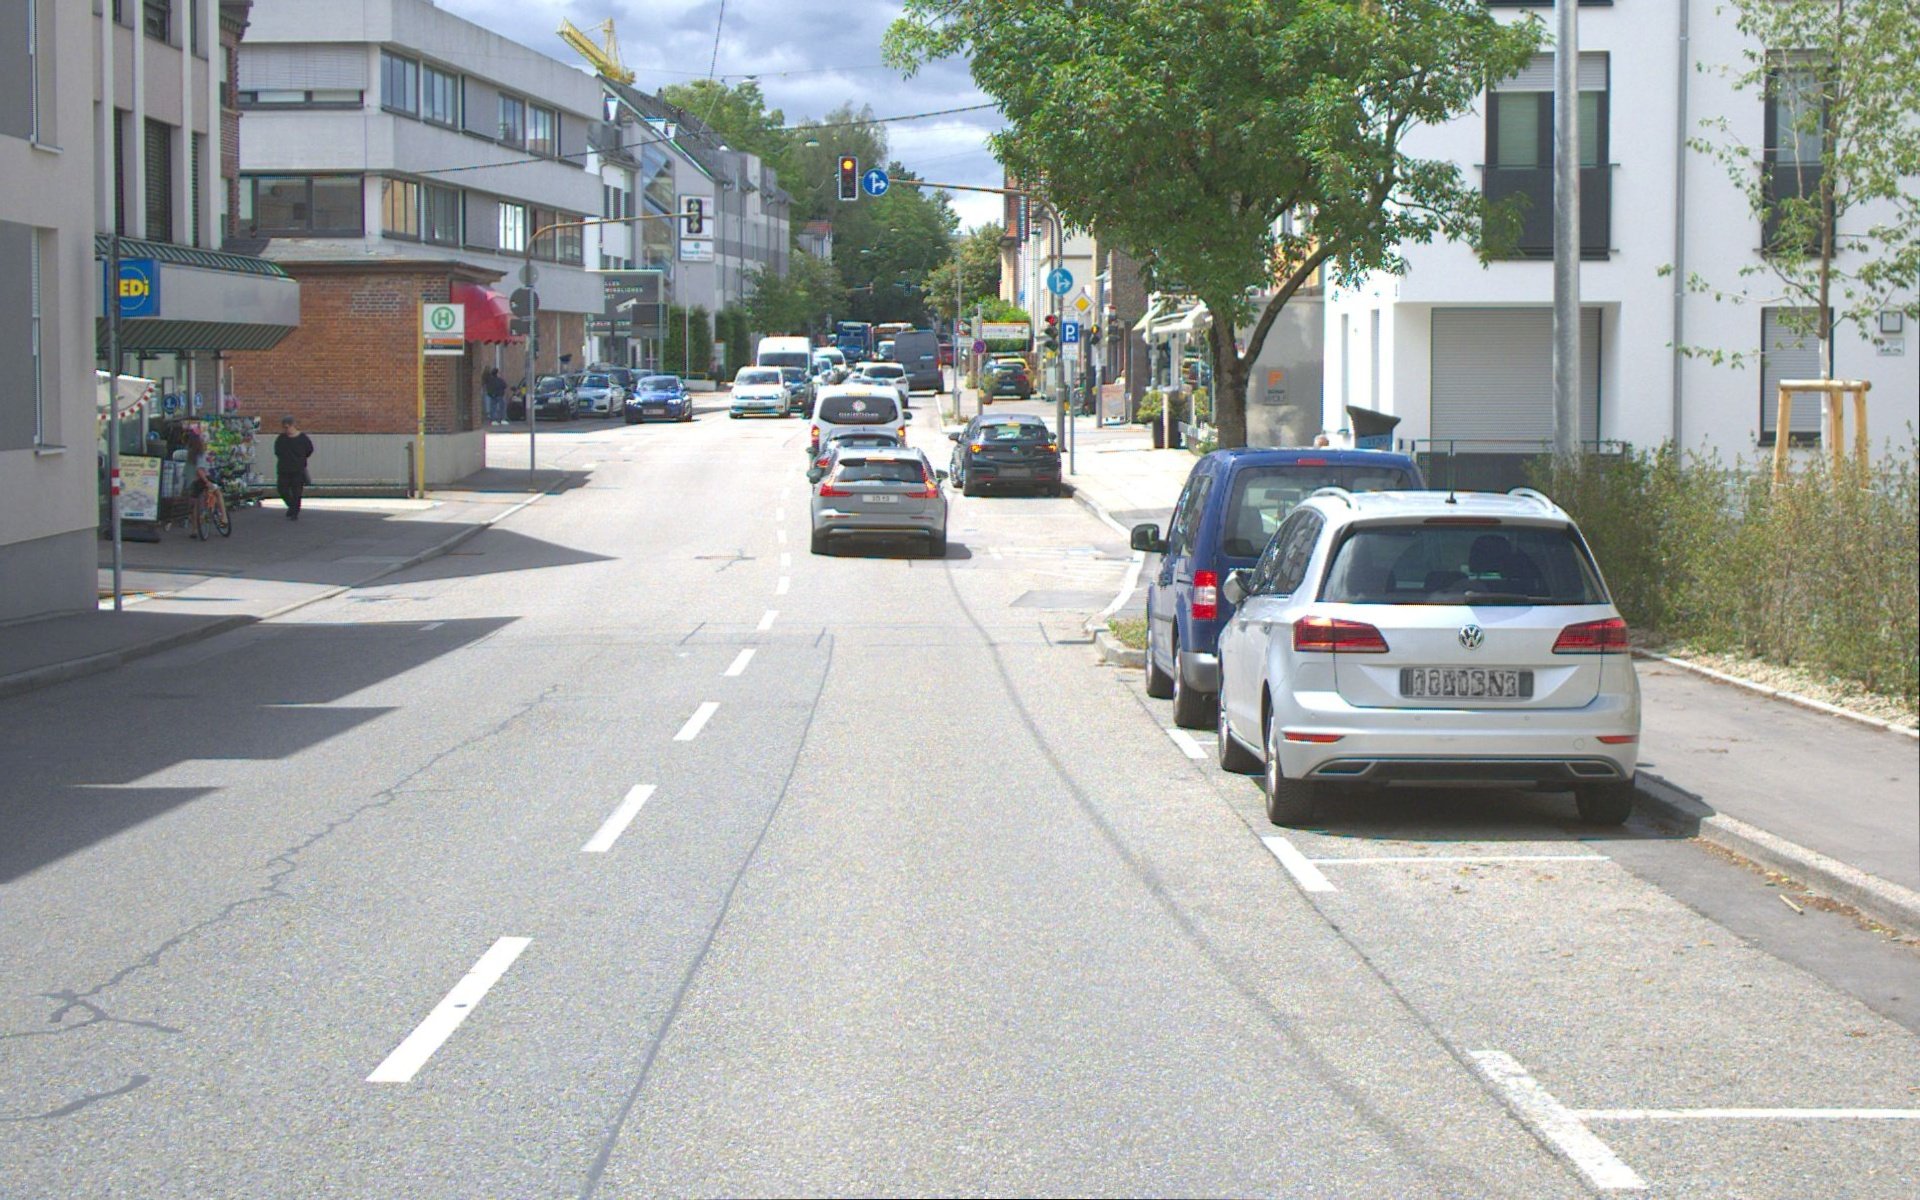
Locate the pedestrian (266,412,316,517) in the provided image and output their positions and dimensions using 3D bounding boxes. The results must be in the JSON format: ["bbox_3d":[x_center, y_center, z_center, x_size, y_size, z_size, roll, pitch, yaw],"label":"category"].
[{"bbox_3d":[-10.278,-2.080,52.817,0.628,1.597,0.563,1,2,3],"label":"pedestrian"}]

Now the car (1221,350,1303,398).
[{"bbox_3d":[11.189,-8.347,127.084,1.573,1.609,3.655,3,2,30],"label":"car"}]

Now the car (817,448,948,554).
[{"bbox_3d":[-1.063,-1.415,48.008,1.744,1.412,4.001,0,2,-1],"label":"car"}]

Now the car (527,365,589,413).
[{"bbox_3d":[-12.409,-6.501,106.147,1.551,1.371,3.399,0,2,-1],"label":"car"}]

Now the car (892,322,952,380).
[{"bbox_3d":[-1.641,-10.662,147.457,2.436,2.310,5.327,2,3,-1],"label":"car"}]

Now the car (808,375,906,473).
[{"bbox_3d":[-2.005,-3.444,67.625,1.836,1.855,3.851,1,2,-1],"label":"car"}]

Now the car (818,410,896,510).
[{"bbox_3d":[-1.726,-2.383,58.086,1.273,1.522,3.051,0,5,-1],"label":"car"}]

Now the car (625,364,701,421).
[{"bbox_3d":[-9.224,-6.436,107.018,1.873,1.634,4.000,2,2,1],"label":"car"}]

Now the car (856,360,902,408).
[{"bbox_3d":[-2.965,-7.896,126.010,1.635,1.650,3.851,1,2,-1],"label":"car"}]

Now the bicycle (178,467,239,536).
[{"bbox_3d":[-10.322,-1.356,47.270,0.467,0.858,1.777,2,4,-1],"label":"bicycle"}]

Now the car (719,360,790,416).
[{"bbox_3d":[-6.580,-6.786,110.341,1.873,1.634,4.000,2,2,1],"label":"car"}]

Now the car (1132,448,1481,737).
[{"bbox_3d":[2.248,-0.123,23.476,1.844,1.761,4.516,1,2,-1],"label":"car"}]

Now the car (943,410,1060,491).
[{"bbox_3d":[0.738,-2.792,63.556,1.752,1.366,4.002,0,4,-5],"label":"car"}]

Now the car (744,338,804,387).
[{"bbox_3d":[-6.746,-8.630,125.010,1.873,1.634,4.000,0,2,2],"label":"car"}]

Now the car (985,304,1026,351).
[{"bbox_3d":[2.104,-12.758,161.259,1.802,2.006,4.001,0,2,-1],"label":"car"}]

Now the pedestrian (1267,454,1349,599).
[{"bbox_3d":[4.004,-0.853,39.596,0.736,1.641,0.616,-1,2,-20],"label":"pedestrian"}]

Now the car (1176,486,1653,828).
[{"bbox_3d":[2.176,0.187,17.607,1.786,1.504,4.365,1,2,-1],"label":"car"}]

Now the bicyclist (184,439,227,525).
[{"bbox_3d":[-10.345,-1.619,47.155,0.458,1.175,0.625,0,3,-1],"label":"bicyclist"}]

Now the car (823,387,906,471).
[{"bbox_3d":[-2.171,-3.908,78.897,1.836,1.855,3.851,1,2,-1],"label":"car"}]

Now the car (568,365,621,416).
[{"bbox_3d":[-11.827,-6.787,111.435,1.384,1.535,3.399,0,2,-1],"label":"car"}]
